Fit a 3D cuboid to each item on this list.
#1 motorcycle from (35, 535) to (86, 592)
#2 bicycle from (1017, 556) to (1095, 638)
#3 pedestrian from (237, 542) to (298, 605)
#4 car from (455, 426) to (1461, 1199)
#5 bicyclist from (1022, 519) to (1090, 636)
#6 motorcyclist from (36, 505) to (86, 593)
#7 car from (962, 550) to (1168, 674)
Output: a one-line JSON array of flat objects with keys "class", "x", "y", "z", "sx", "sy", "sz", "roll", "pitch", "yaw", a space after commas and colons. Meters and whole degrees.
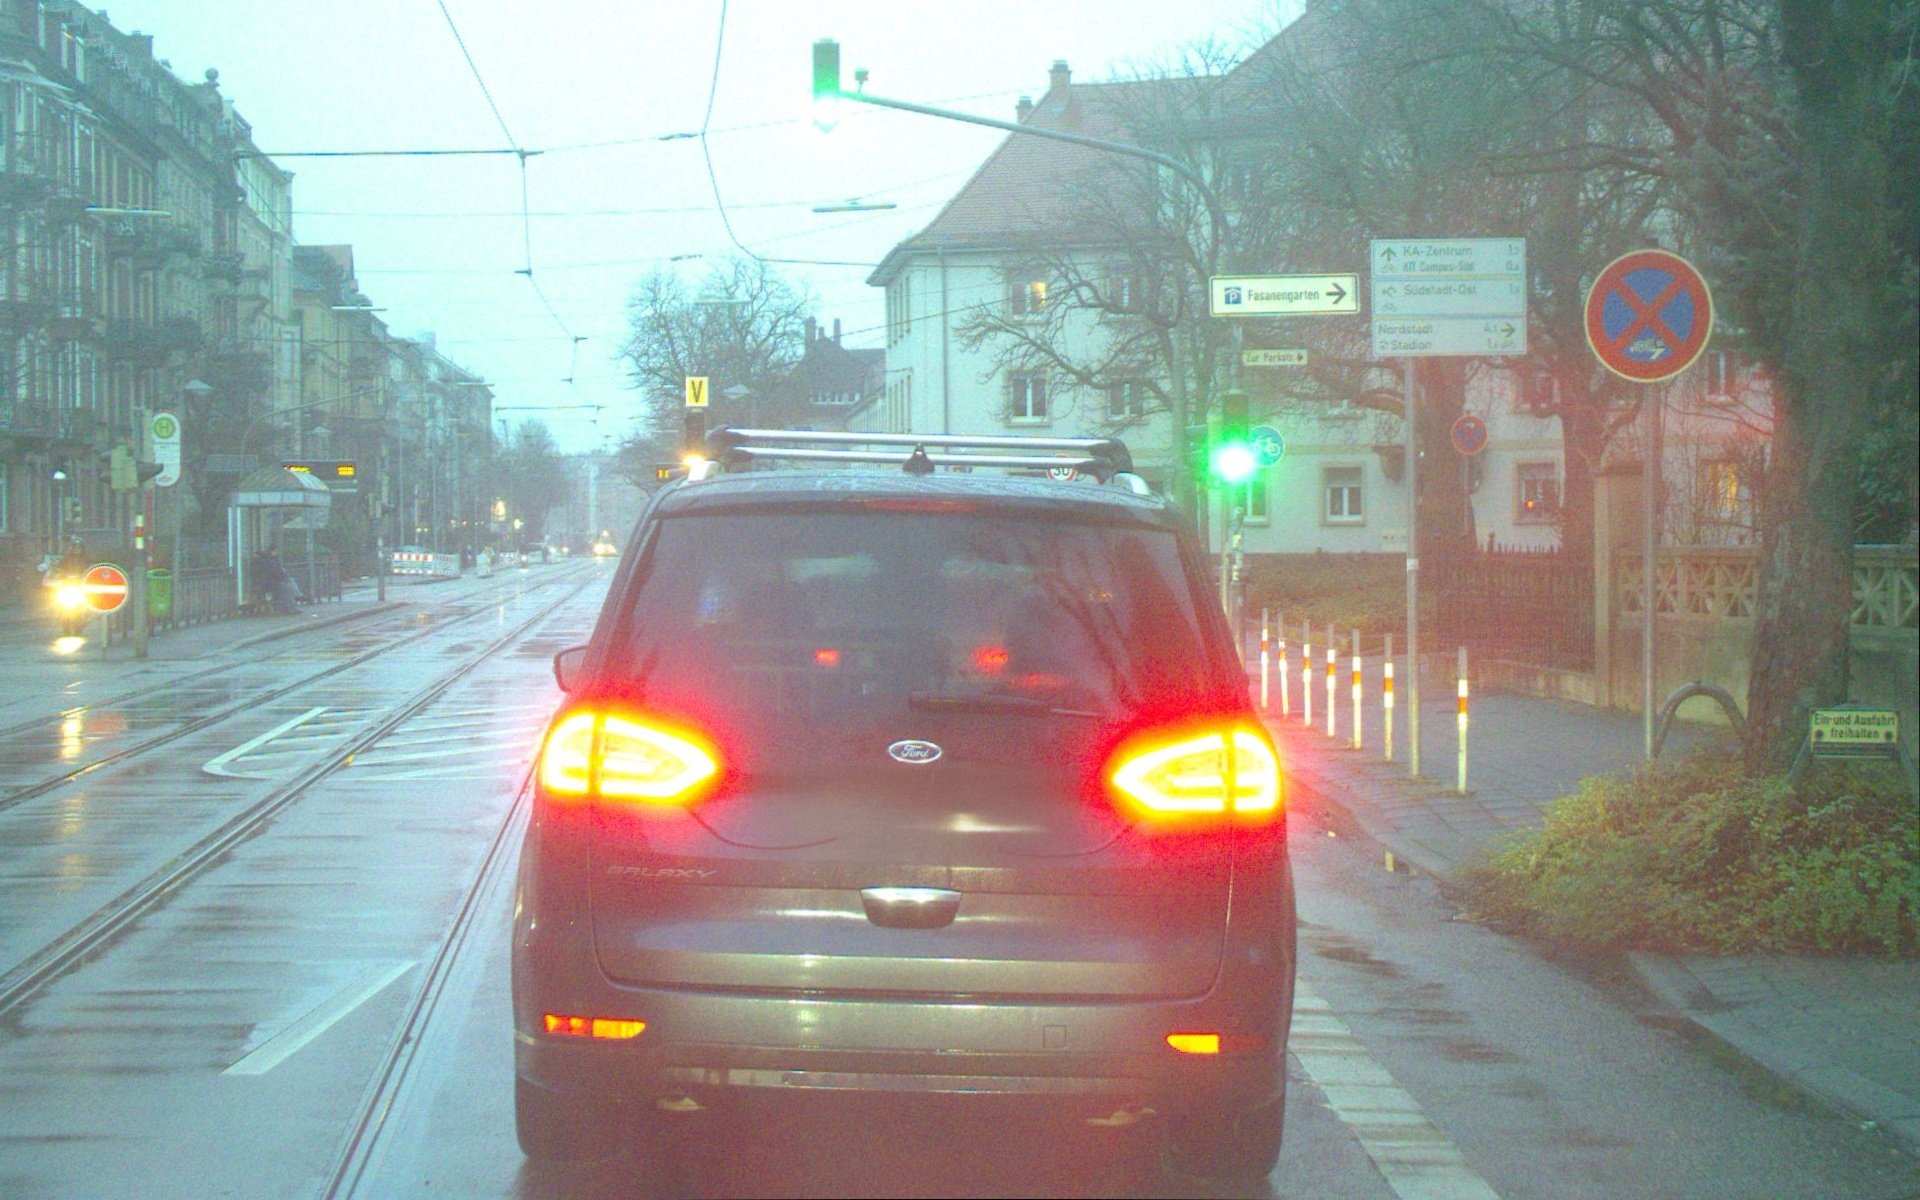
[{"class": "motorcycle", "x": -15.980, "y": -0.654, "z": 61.089, "sx": 0.855, "sy": 0.988, "sz": 1.919, "roll": 0, "pitch": 1, "yaw": -15}, {"class": "bicycle", "x": 1.396, "y": -0.058, "z": 50.339, "sx": 0.716, "sy": 1.108, "sz": 1.942, "roll": 3, "pitch": 1, "yaw": -9}, {"class": "pedestrian", "x": -13.397, "y": -0.509, "z": 66.490, "sx": 1.047, "sy": 1.196, "sz": 0.885, "roll": 0, "pitch": 0, "yaw": -4}, {"class": "car", "x": -0.112, "y": 0.516, "z": 9.636, "sx": 2.103, "sy": 1.810, "sz": 4.661, "roll": 1, "pitch": 1, "yaw": -3}, {"class": "bicyclist", "x": 1.405, "y": -0.338, "z": 50.265, "sx": 0.716, "sy": 1.657, "sz": 1.057, "roll": 3, "pitch": 1, "yaw": -9}, {"class": "motorcyclist", "x": -15.978, "y": -0.907, "z": 61.092, "sx": 0.843, "sy": 1.543, "sz": 1.015, "roll": 0, "pitch": 1, "yaw": -15}, {"class": "car", "x": 1.308, "y": 0.110, "z": 41.031, "sx": 1.666, "sy": 1.371, "sz": 3.998, "roll": 0, "pitch": 1, "yaw": 14}]
